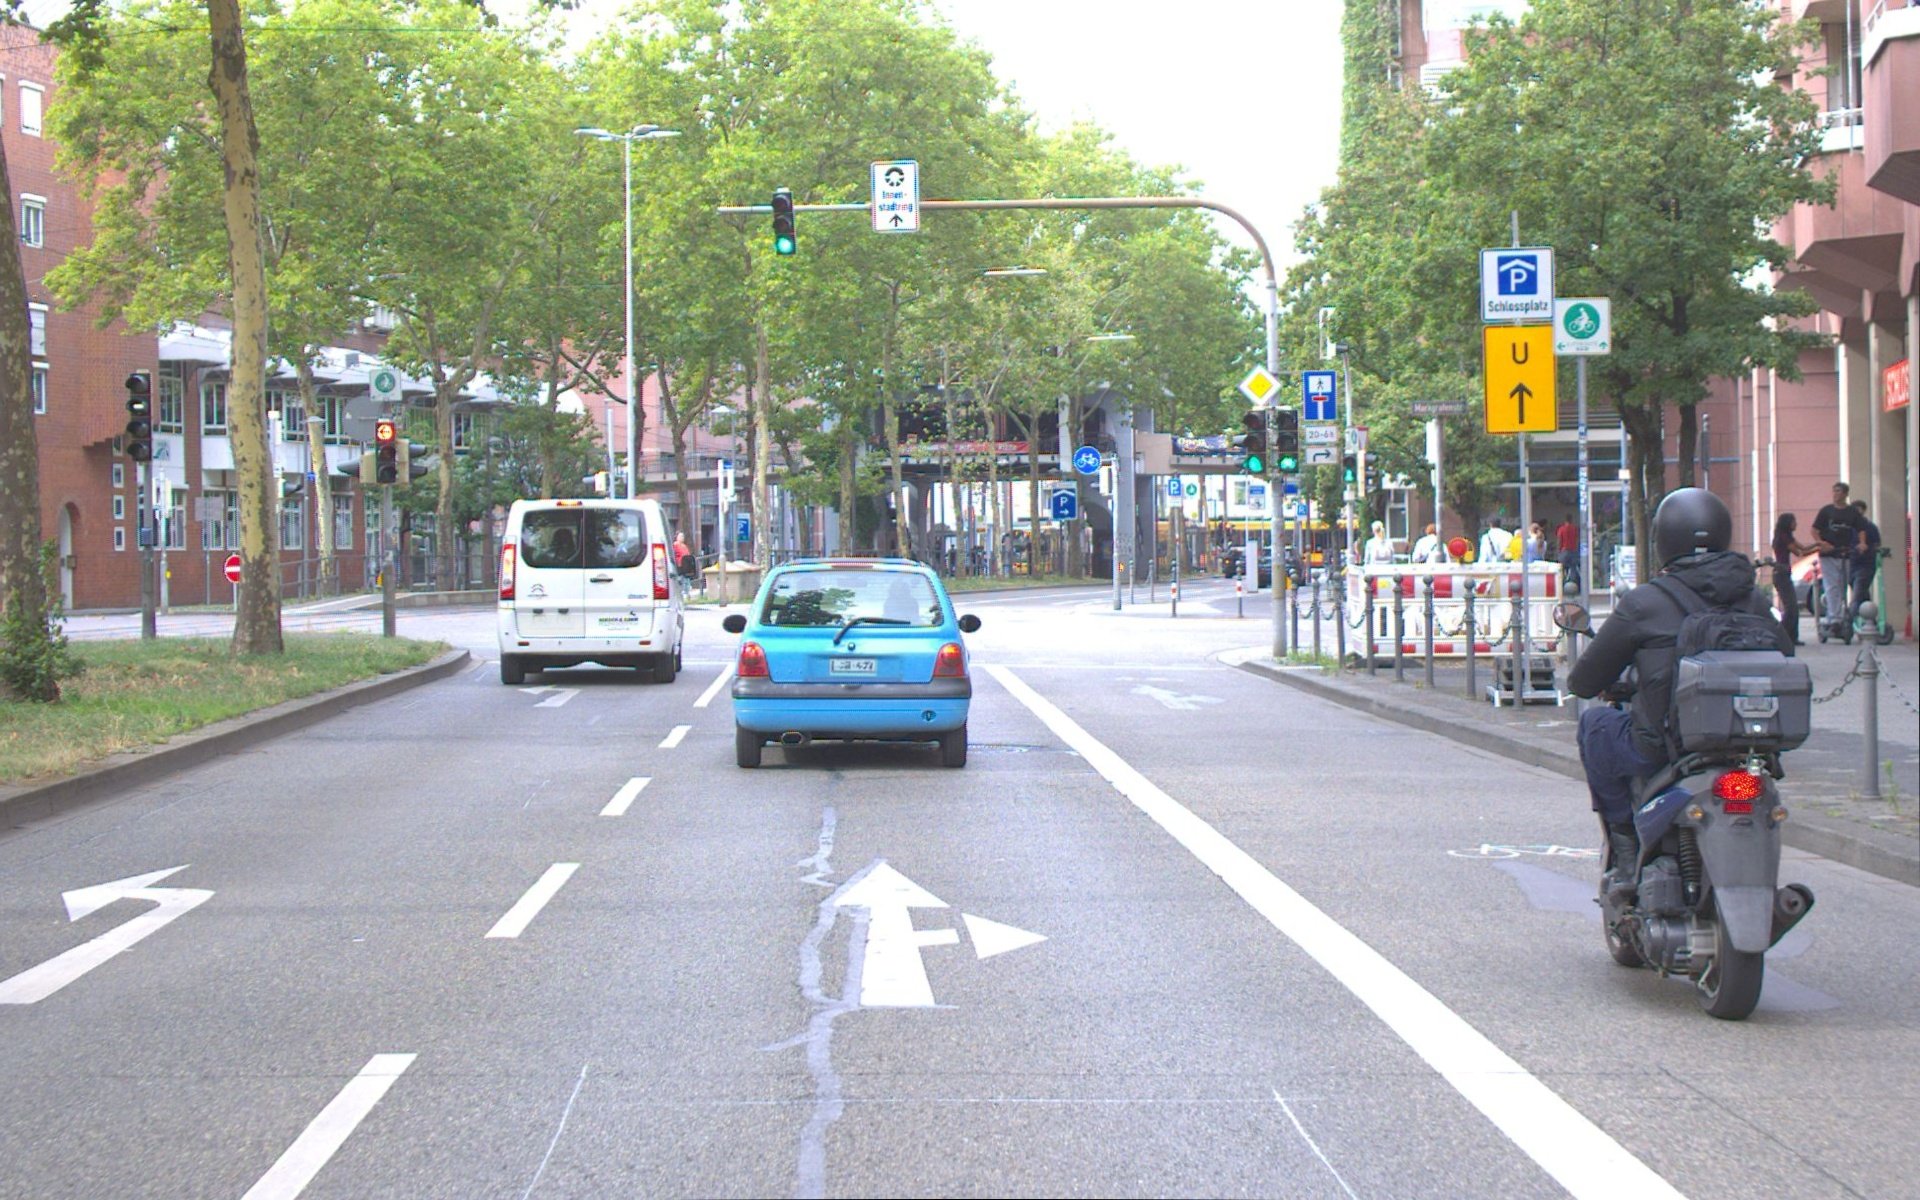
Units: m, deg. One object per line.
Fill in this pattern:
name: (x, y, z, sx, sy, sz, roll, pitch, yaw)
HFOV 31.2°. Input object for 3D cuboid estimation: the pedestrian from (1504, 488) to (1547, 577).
pedestrian: (9.904, -1.186, 60.221, 0.676, 1.533, 0.947, -1, 1, 6)

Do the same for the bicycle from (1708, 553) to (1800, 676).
bicycle: (7.485, 0.121, 32.469, 0.612, 1.114, 1.804, 0, 1, 6)

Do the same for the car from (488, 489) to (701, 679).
car: (-3.926, -0.233, 37.671, 1.931, 1.919, 4.956, -1, 2, -2)

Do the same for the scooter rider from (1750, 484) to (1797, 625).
scooter rider: (9.958, -0.554, 42.096, 0.462, 1.714, 0.553, -1, 1, 3)

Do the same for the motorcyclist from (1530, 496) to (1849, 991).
motorcyclist: (2.344, 0.437, 11.152, 0.759, 1.514, 1.018, -1, 1, -2)

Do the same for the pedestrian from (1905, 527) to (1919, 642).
pedestrian: (11.217, -0.181, 39.830, 0.487, 1.319, 0.485, 0, 1, 13)

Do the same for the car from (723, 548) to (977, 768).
car: (-0.754, 0.345, 24.172, 1.640, 1.381, 3.843, 0, 1, -1)

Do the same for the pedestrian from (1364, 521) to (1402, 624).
pedestrian: (6.691, -0.444, 54.397, 0.517, 1.610, 0.851, -1, 1, 3)

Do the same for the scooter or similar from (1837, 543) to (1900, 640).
scooter or similar: (11.123, -0.112, 42.111, 0.554, 1.166, 1.406, 0, 1, 7)

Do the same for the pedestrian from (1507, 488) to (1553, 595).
pedestrian: (9.116, -0.942, 55.014, 0.652, 1.695, 1.022, 0, 1, 6)

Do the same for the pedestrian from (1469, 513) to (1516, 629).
pedestrian: (8.516, -0.469, 54.968, 0.676, 1.822, 0.850, -1, 1, 5)

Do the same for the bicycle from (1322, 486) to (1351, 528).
bicycle: (9.058, -2.236, 82.825, 0.617, 1.005, 1.735, 0, 1, 4)

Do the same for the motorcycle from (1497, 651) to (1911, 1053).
motorcycle: (2.356, 0.755, 11.185, 0.767, 1.103, 2.208, -1, 1, -2)

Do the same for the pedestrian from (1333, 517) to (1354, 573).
pedestrian: (12.696, -1.829, 113.909, 0.647, 1.852, 0.782, 0, 1, 8)

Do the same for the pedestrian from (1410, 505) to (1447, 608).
pedestrian: (7.402, -0.687, 54.303, 0.517, 1.610, 0.850, -1, 1, 5)

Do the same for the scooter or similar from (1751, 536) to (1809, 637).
scooter or similar: (9.946, -0.169, 41.739, 0.474, 1.202, 1.330, -1, 1, 4)

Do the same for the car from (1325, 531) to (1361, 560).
car: (21.188, -3.010, 190.024, 1.699, 1.596, 3.998, 0, 1, 10)

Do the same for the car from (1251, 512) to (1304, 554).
car: (12.413, -2.625, 134.093, 1.699, 1.596, 3.998, 0, 1, 10)

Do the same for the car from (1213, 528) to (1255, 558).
car: (15.229, -3.155, 190.940, 1.887, 1.618, 3.998, 0, 1, 10)

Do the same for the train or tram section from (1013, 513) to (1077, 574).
train or tram section: (4.694, -3.086, 188.878, 2.390, 3.242, 8.815, -1, 1, 8)

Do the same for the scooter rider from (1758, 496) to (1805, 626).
scooter rider: (9.919, -0.472, 41.519, 0.461, 1.552, 0.565, -1, 1, 3)

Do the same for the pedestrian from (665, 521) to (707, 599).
pedestrian: (-6.090, -0.893, 76.396, 0.553, 1.712, 0.889, 0, 1, 25)

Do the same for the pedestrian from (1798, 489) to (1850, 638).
pedestrian: (10.491, -0.446, 41.757, 0.551, 1.793, 0.657, 0, 1, 10)

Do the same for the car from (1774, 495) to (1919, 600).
car: (17.082, -0.928, 61.462, 4.829, 1.819, 1.999, 0, -1, 11)

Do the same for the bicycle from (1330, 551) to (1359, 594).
bicycle: (9.338, -0.673, 83.425, 0.617, 1.005, 1.735, 0, 1, 4)
